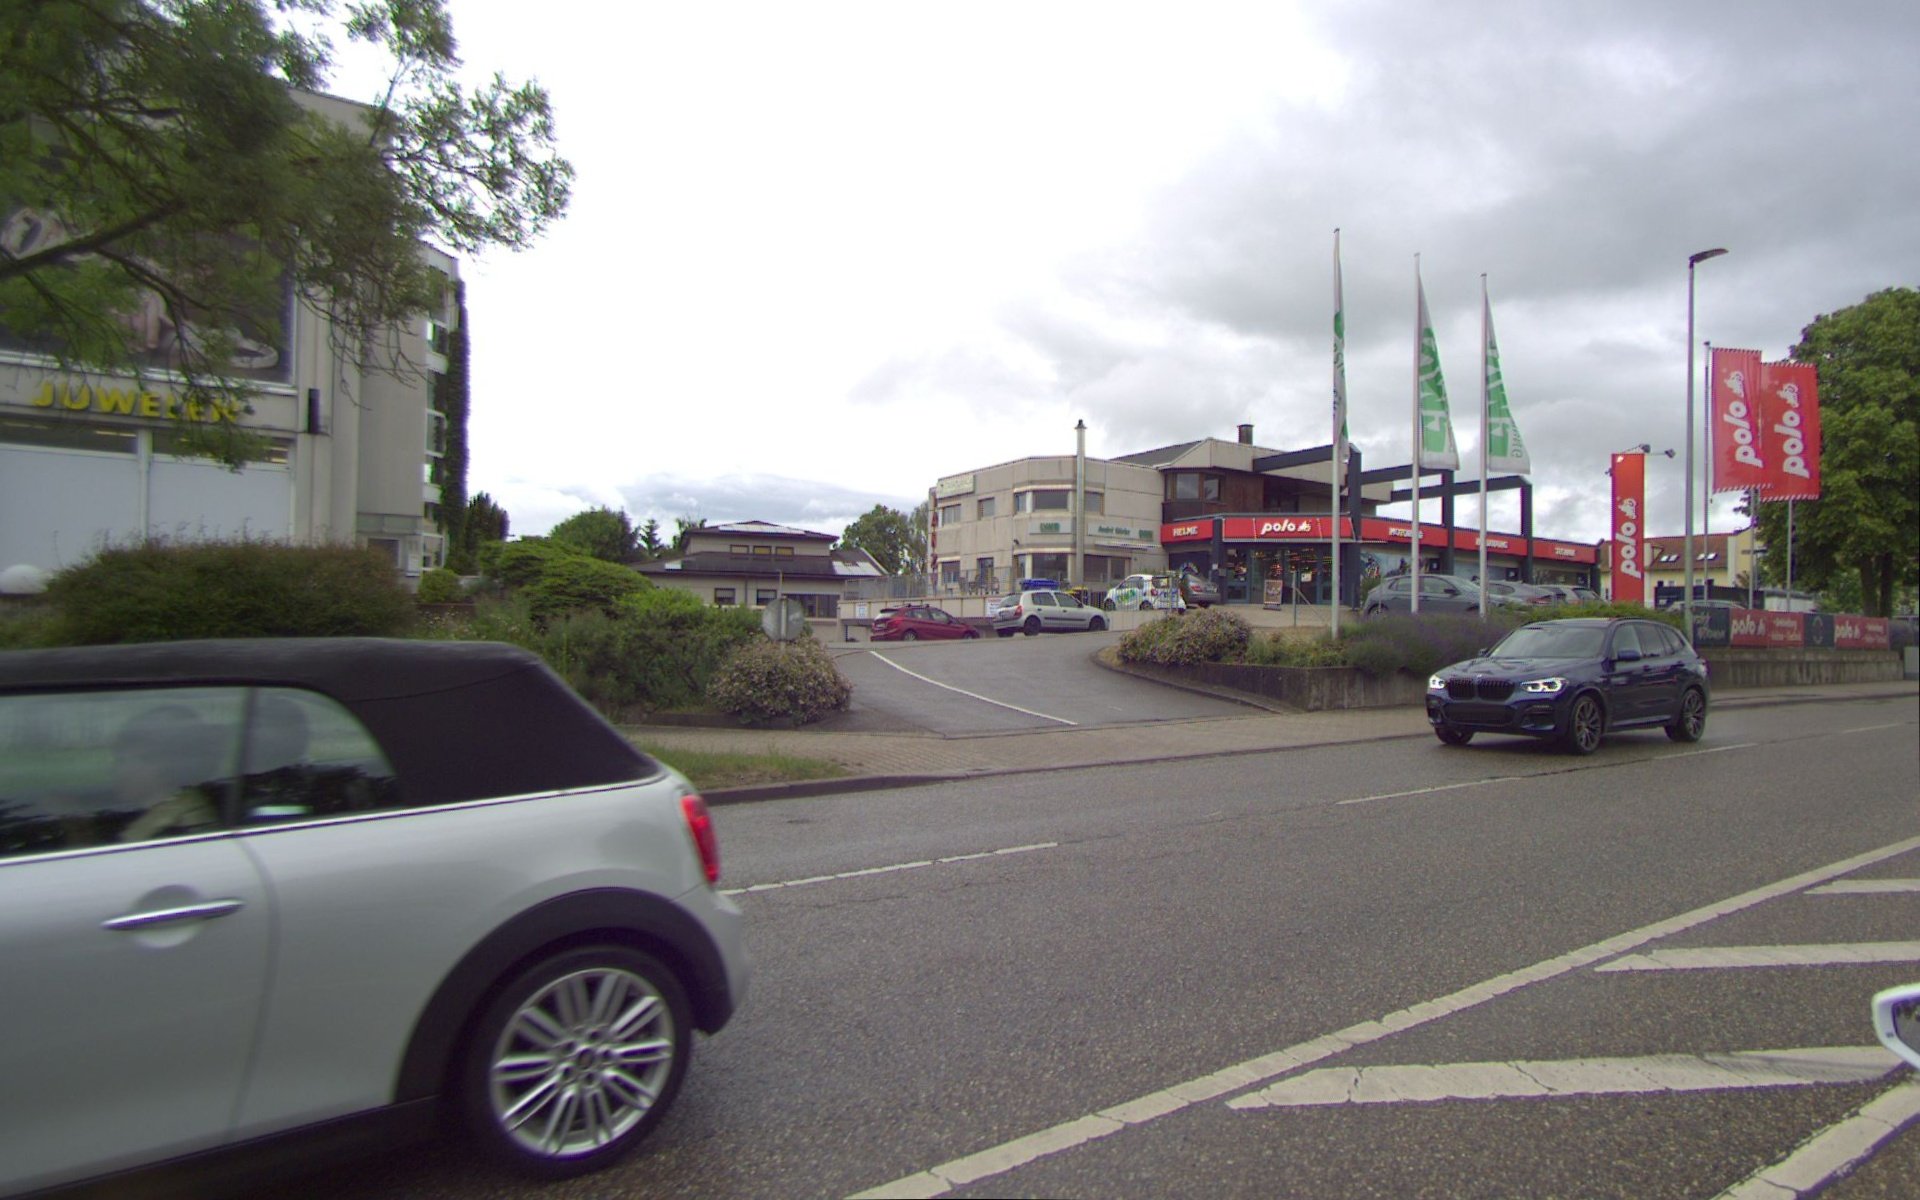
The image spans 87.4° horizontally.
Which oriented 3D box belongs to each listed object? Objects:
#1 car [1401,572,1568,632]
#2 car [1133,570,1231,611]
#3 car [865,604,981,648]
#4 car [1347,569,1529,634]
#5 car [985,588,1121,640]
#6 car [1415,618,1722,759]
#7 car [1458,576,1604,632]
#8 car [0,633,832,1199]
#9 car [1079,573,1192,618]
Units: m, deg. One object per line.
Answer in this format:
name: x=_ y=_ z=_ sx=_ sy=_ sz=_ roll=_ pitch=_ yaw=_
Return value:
car: x=14.034 y=0.103 z=27.027 sx=1.726 sy=1.502 sz=3.620 roll=1 pitch=-1 yaw=-37
car: x=9.075 y=-0.356 z=41.373 sx=1.851 sy=1.532 sz=3.975 roll=1 pitch=-1 yaw=-27
car: x=-1.326 y=0.964 z=36.689 sx=4.015 sy=1.532 sz=1.663 roll=1 pitch=-3 yaw=-36
car: x=12.006 y=0.085 z=25.420 sx=1.726 sy=1.502 sz=3.798 roll=1 pitch=-1 yaw=-37
car: x=2.886 y=0.467 z=31.026 sx=3.956 sy=1.532 sz=1.666 roll=1 pitch=-3 yaw=-31
car: x=8.287 y=1.083 z=13.565 sx=4.483 sy=1.632 sz=1.742 roll=1 pitch=-3 yaw=-33
car: x=16.517 y=0.158 z=29.188 sx=1.564 sy=1.529 sz=3.398 roll=1 pitch=-2 yaw=-31
car: x=-2.482 y=0.808 z=2.645 sx=3.957 sy=1.416 sz=1.658 roll=1 pitch=-3 yaw=-33
car: x=6.206 y=-0.109 z=35.909 sx=1.856 sy=1.502 sz=3.801 roll=1 pitch=-1 yaw=-35
